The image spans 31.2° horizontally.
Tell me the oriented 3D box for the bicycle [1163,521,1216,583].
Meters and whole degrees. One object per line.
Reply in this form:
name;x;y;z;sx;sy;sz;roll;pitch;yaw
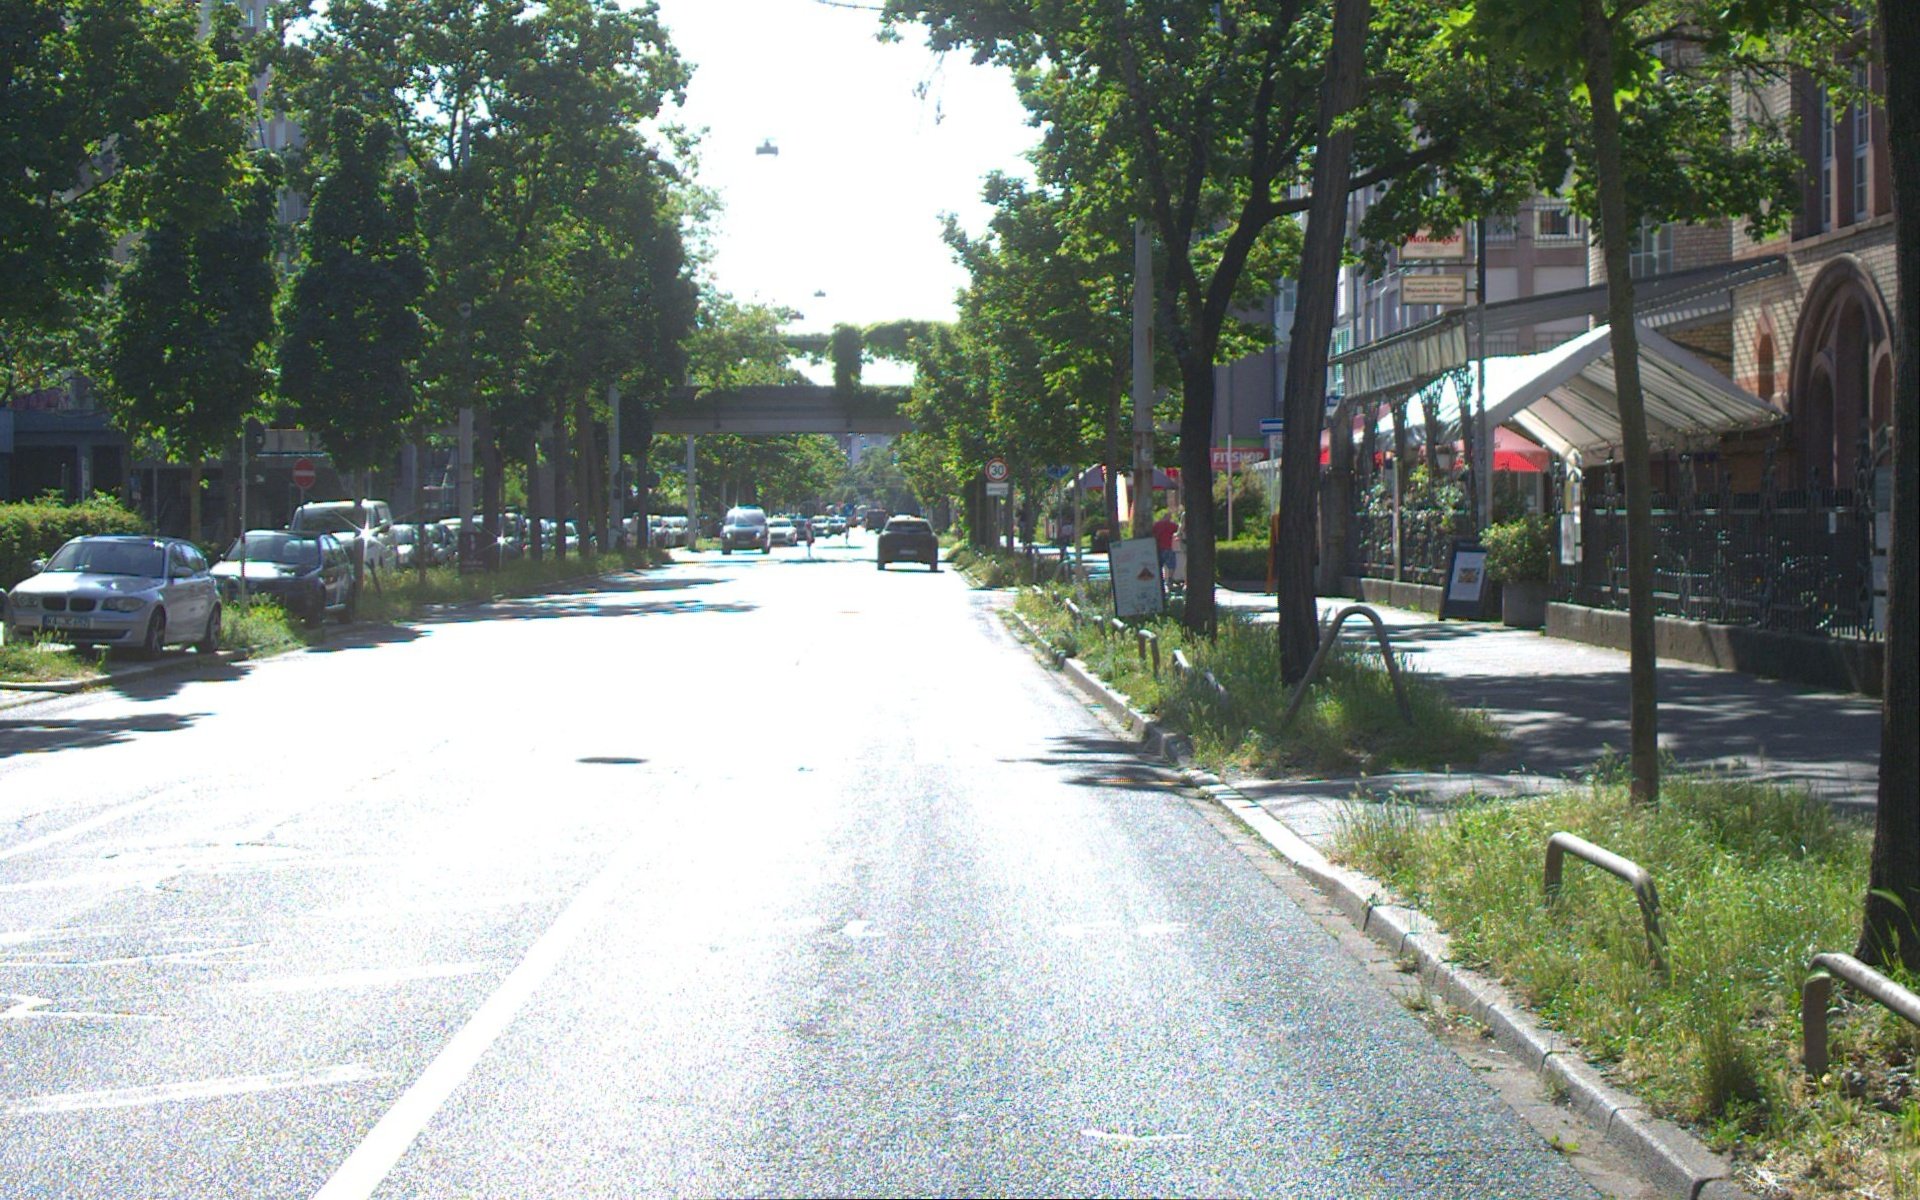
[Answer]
bicycle;3.868;-0.806;58.085;0.685;1.024;2.096;0;1;-2

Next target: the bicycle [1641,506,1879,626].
bicycle;7.942;-0.339;34.175;2.195;1.174;0.687;0;1;-7

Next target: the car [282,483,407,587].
car;-13.067;-1.403;73.261;1.981;2.069;5.198;-2;2;-4

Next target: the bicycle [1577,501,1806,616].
bicycle;7.519;-0.429;35.376;2.195;1.174;0.687;0;1;-7

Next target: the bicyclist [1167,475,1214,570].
bicyclist;3.889;-1.306;57.984;0.700;1.593;0.955;0;1;-2

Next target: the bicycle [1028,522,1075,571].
bicycle;2.062;-1.210;77.114;0.591;1.062;2.021;0;2;15

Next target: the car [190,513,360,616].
car;-10.254;-0.563;51.744;1.712;1.453;4.072;1;2;0

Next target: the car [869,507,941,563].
car;-1.621;-1.921;100.695;1.984;1.595;4.141;0;2;-2

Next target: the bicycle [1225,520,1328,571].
bicycle;6.909;-1.193;75.105;2.196;1.024;0.687;-1;4;1

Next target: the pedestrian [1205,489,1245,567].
pedestrian;5.612;-1.525;72.858;0.653;1.598;0.603;-3;1;-6

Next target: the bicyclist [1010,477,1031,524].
bicyclist;2.172;-3.563;123.503;0.667;1.689;0.889;1;1;-2

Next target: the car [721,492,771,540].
car;-8.462;-3.336;136.252;1.855;1.818;4.611;-2;2;-2

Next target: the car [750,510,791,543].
car;-9.380;-3.648;170.292;1.855;1.562;4.716;-2;2;-2

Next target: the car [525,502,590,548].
car;-13.763;-2.567;117.702;1.855;1.517;4.319;1;2;-2

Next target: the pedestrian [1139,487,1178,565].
pedestrian;4.184;-1.561;72.488;0.653;1.598;0.603;-3;1;-6

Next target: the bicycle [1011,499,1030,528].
bicycle;2.173;-3.116;123.635;0.589;1.024;1.860;0;1;-2

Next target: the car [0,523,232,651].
car;-9.906;-0.190;40.425;1.688;1.378;4.191;1;2;2
